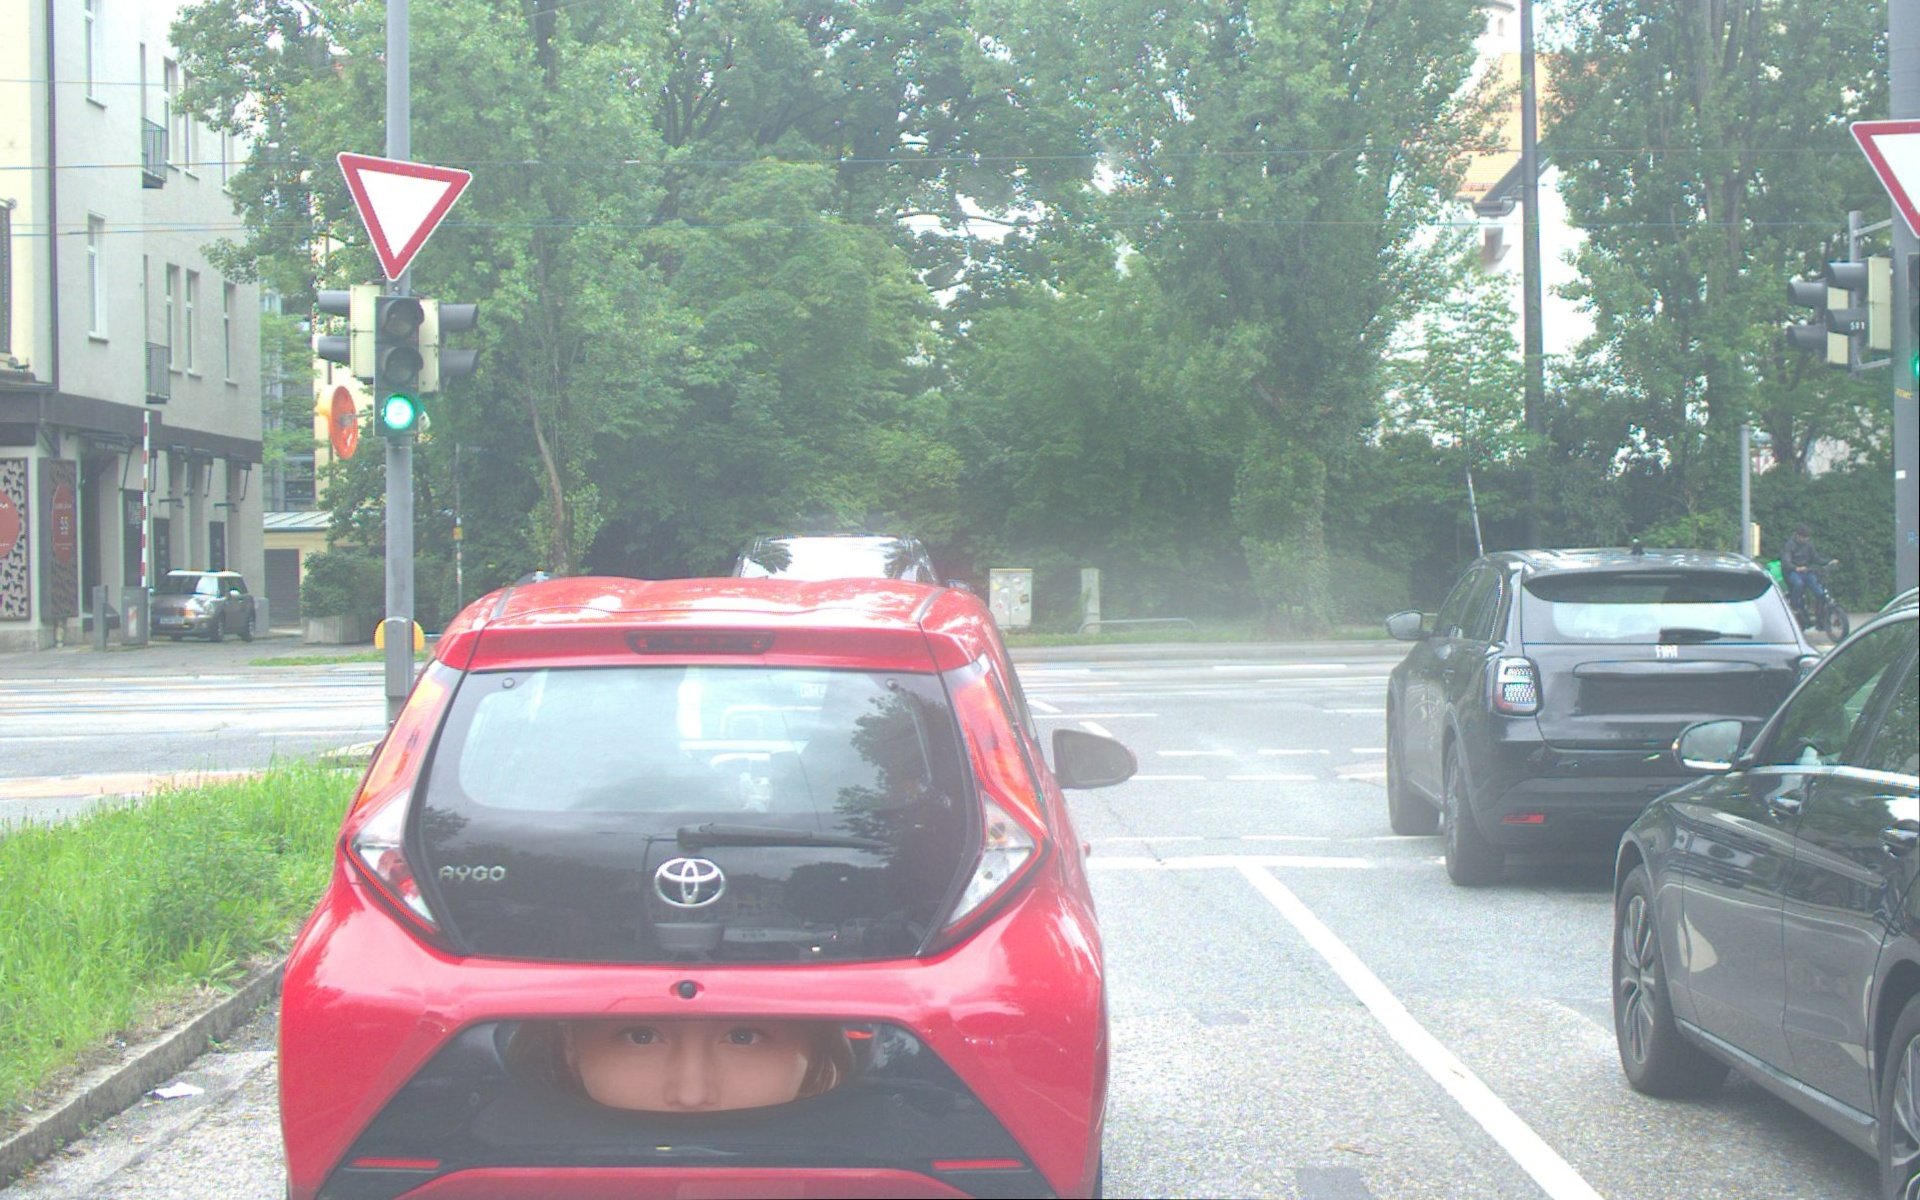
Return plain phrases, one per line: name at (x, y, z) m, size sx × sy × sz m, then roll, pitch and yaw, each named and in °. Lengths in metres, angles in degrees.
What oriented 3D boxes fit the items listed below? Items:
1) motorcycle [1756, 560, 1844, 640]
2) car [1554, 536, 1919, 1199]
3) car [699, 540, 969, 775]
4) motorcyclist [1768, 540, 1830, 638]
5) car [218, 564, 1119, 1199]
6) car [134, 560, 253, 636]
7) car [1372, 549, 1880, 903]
motorcycle at (12.555, -0.003, 51.419) m, size 0.628 × 1.165 × 2.030 m, roll 1°, pitch 0°, yaw -5°
car at (2.734, 0.642, 7.946) m, size 1.863 × 1.544 × 4.704 m, roll 1°, pitch 1°, yaw 0°
car at (-0.836, 0.349, 25.262) m, size 1.736 × 1.544 × 4.576 m, roll -1°, pitch 1°, yaw 1°
motorcyclist at (12.557, -0.167, 51.462) m, size 0.618 × 1.438 × 0.882 m, roll 1°, pitch 0°, yaw -5°
car at (-0.510, 0.657, 7.971) m, size 1.628 × 1.435 × 3.376 m, roll -1°, pitch 1°, yaw 1°
car at (-15.352, -0.062, 68.996) m, size 1.725 × 1.437 × 4.001 m, roll -1°, pitch 1°, yaw -4°
car at (3.082, 0.523, 16.674) m, size 1.781 × 1.481 × 4.000 m, roll -1°, pitch 0°, yaw 2°
